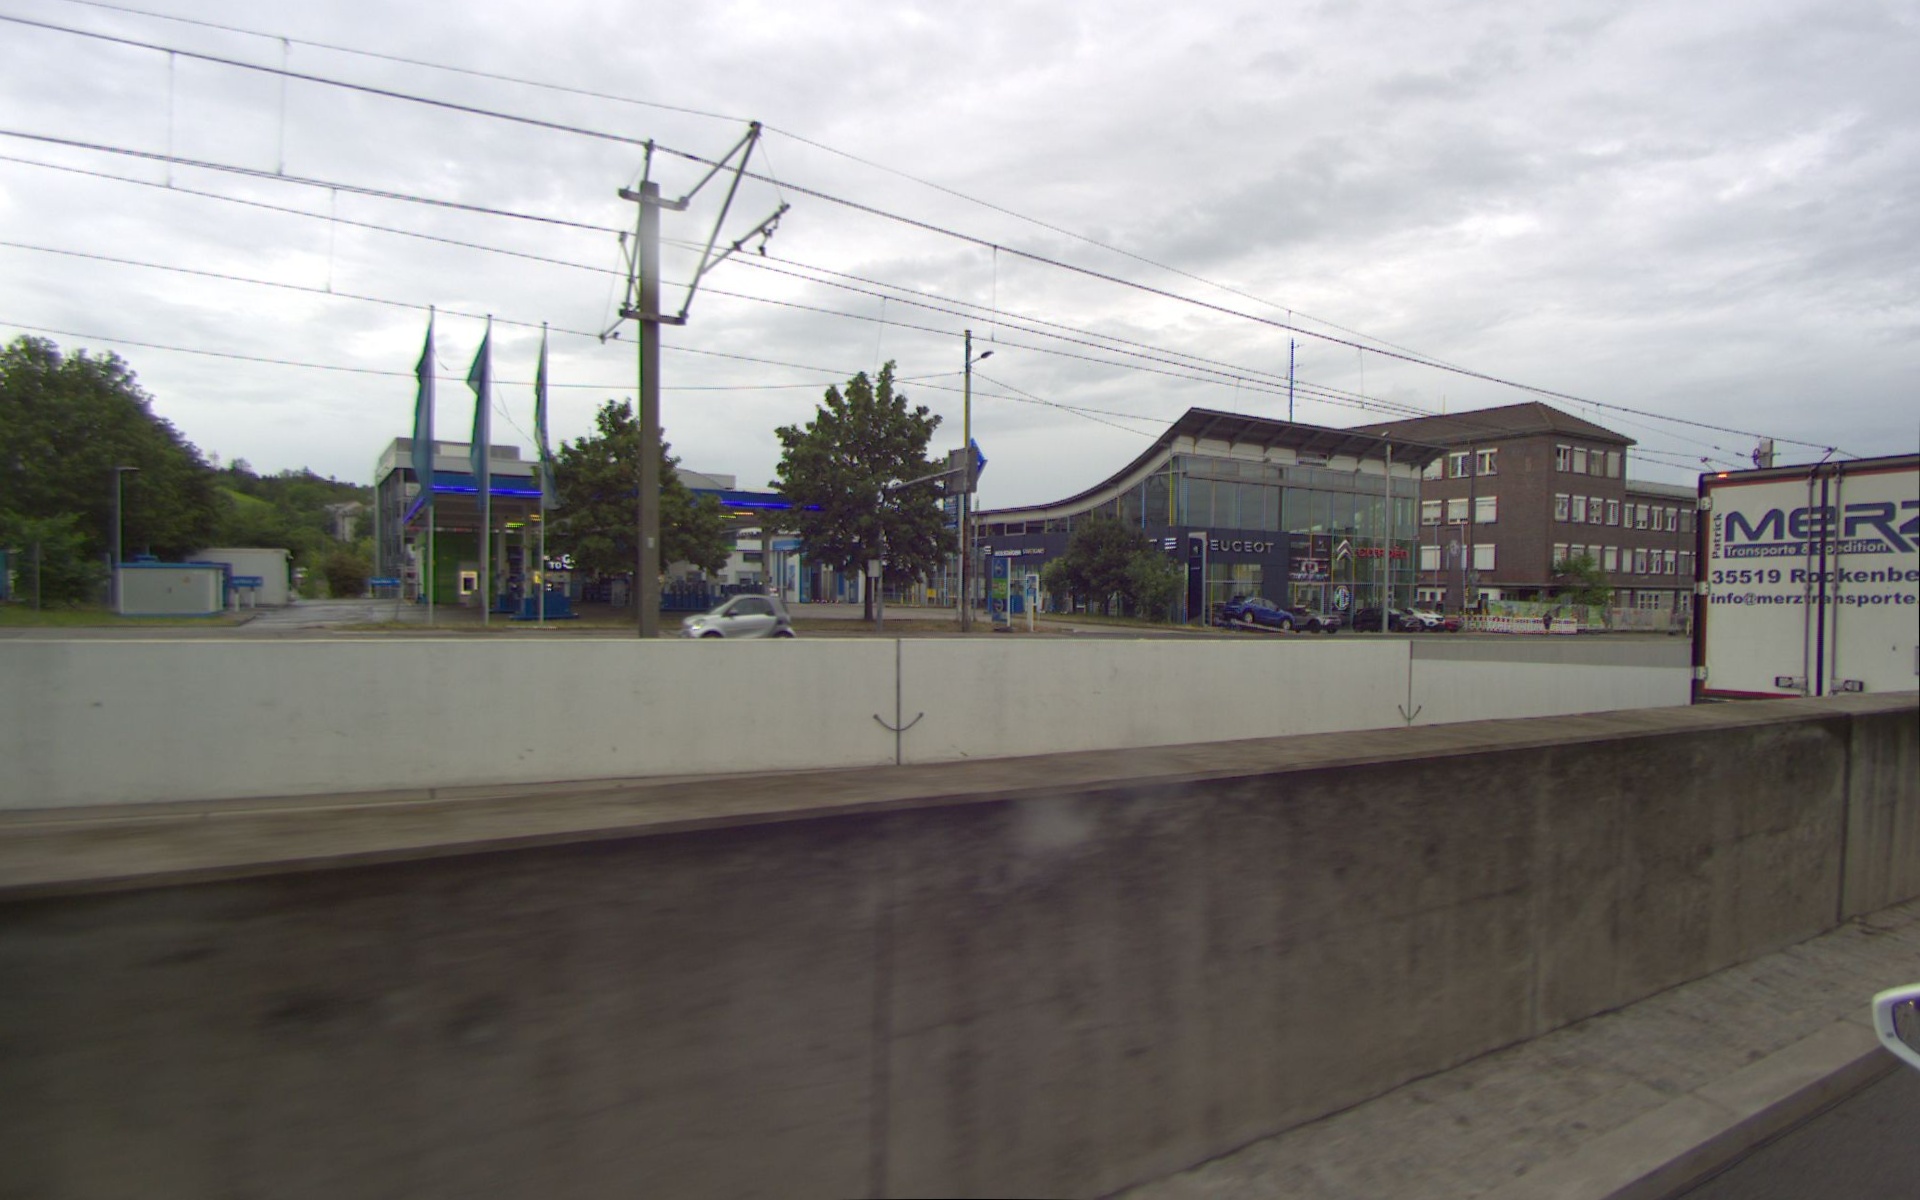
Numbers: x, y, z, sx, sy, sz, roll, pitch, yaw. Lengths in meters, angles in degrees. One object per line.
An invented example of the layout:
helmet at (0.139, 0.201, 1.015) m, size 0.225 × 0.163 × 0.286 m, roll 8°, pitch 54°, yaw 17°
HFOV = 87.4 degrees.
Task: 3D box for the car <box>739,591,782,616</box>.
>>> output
car at (-13.754, 0.196, 69.130) m, size 1.834 × 1.662 × 3.970 m, roll 1°, pitch 0°, yaw -28°

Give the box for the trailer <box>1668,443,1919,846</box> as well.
trailer at (15.342, 0.571, 14.961) m, size 13.028 × 4.309 × 2.749 m, roll 1°, pitch -1°, yaw -31°

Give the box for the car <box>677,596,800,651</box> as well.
car at (-5.610, 0.589, 25.493) m, size 2.768 × 1.317 × 1.375 m, roll 1°, pitch 1°, yaw -30°

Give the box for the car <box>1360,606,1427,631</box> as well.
car at (26.395, 1.121, 61.247) m, size 1.730 × 1.493 × 3.464 m, roll 1°, pitch -1°, yaw -30°

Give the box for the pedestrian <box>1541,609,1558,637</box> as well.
pedestrian at (37.859, 1.447, 64.519) m, size 0.830 × 1.774 × 0.612 m, roll 1°, pitch 0°, yaw -30°

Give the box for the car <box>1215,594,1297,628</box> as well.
car at (16.045, 0.606, 54.461) m, size 4.007 × 1.630 × 1.759 m, roll 4°, pitch -1°, yaw -20°

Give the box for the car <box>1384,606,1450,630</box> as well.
car at (28.582, 1.124, 62.899) m, size 1.730 × 1.415 × 3.464 m, roll 1°, pitch -1°, yaw -30°

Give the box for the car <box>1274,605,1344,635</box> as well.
car at (19.860, 1.166, 57.296) m, size 1.558 × 1.420 × 3.484 m, roll -1°, pitch -5°, yaw -33°

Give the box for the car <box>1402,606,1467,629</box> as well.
car at (30.325, 1.125, 64.281) m, size 1.601 × 1.400 × 3.460 m, roll 1°, pitch -1°, yaw -33°

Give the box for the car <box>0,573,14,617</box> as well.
car at (-36.776, -0.215, 36.835) m, size 2.770 × 1.594 × 1.374 m, roll 1°, pitch 1°, yaw -33°
